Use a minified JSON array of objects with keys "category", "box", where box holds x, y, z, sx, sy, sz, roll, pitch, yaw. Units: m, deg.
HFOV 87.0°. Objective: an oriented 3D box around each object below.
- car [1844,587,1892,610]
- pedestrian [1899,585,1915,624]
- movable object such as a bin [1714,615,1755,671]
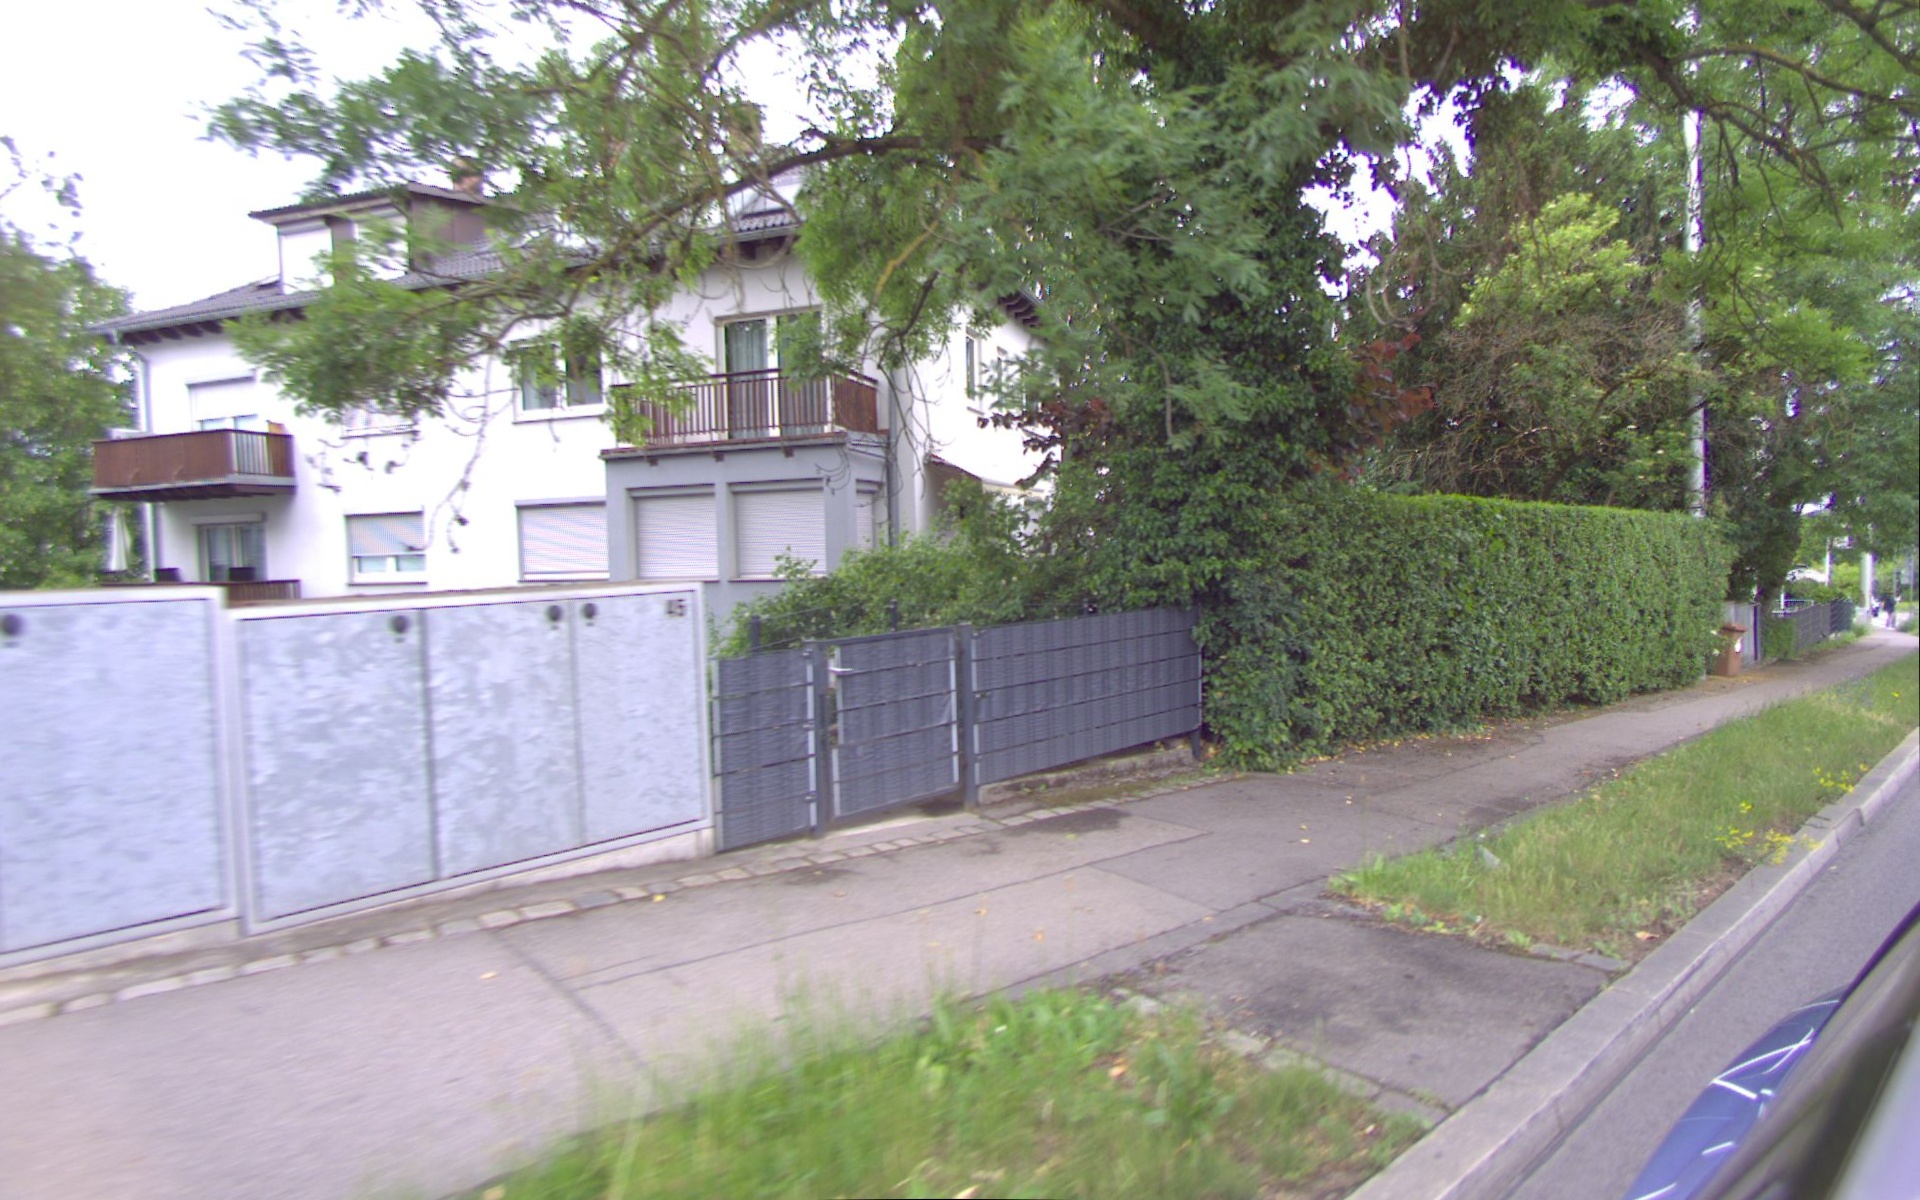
[{"category":"car","box":[68.377,-0.145,76.278,1.985,1.678,4.385,1,1,32]},{"category":"pedestrian","box":[45.961,0.206,49.106,0.485,1.858,0.512,0,1,-42]},{"category":"movable object such as a bin","box":[13.352,0.728,17.453,0.447,0.922,0.473,0,1,-41]}]
